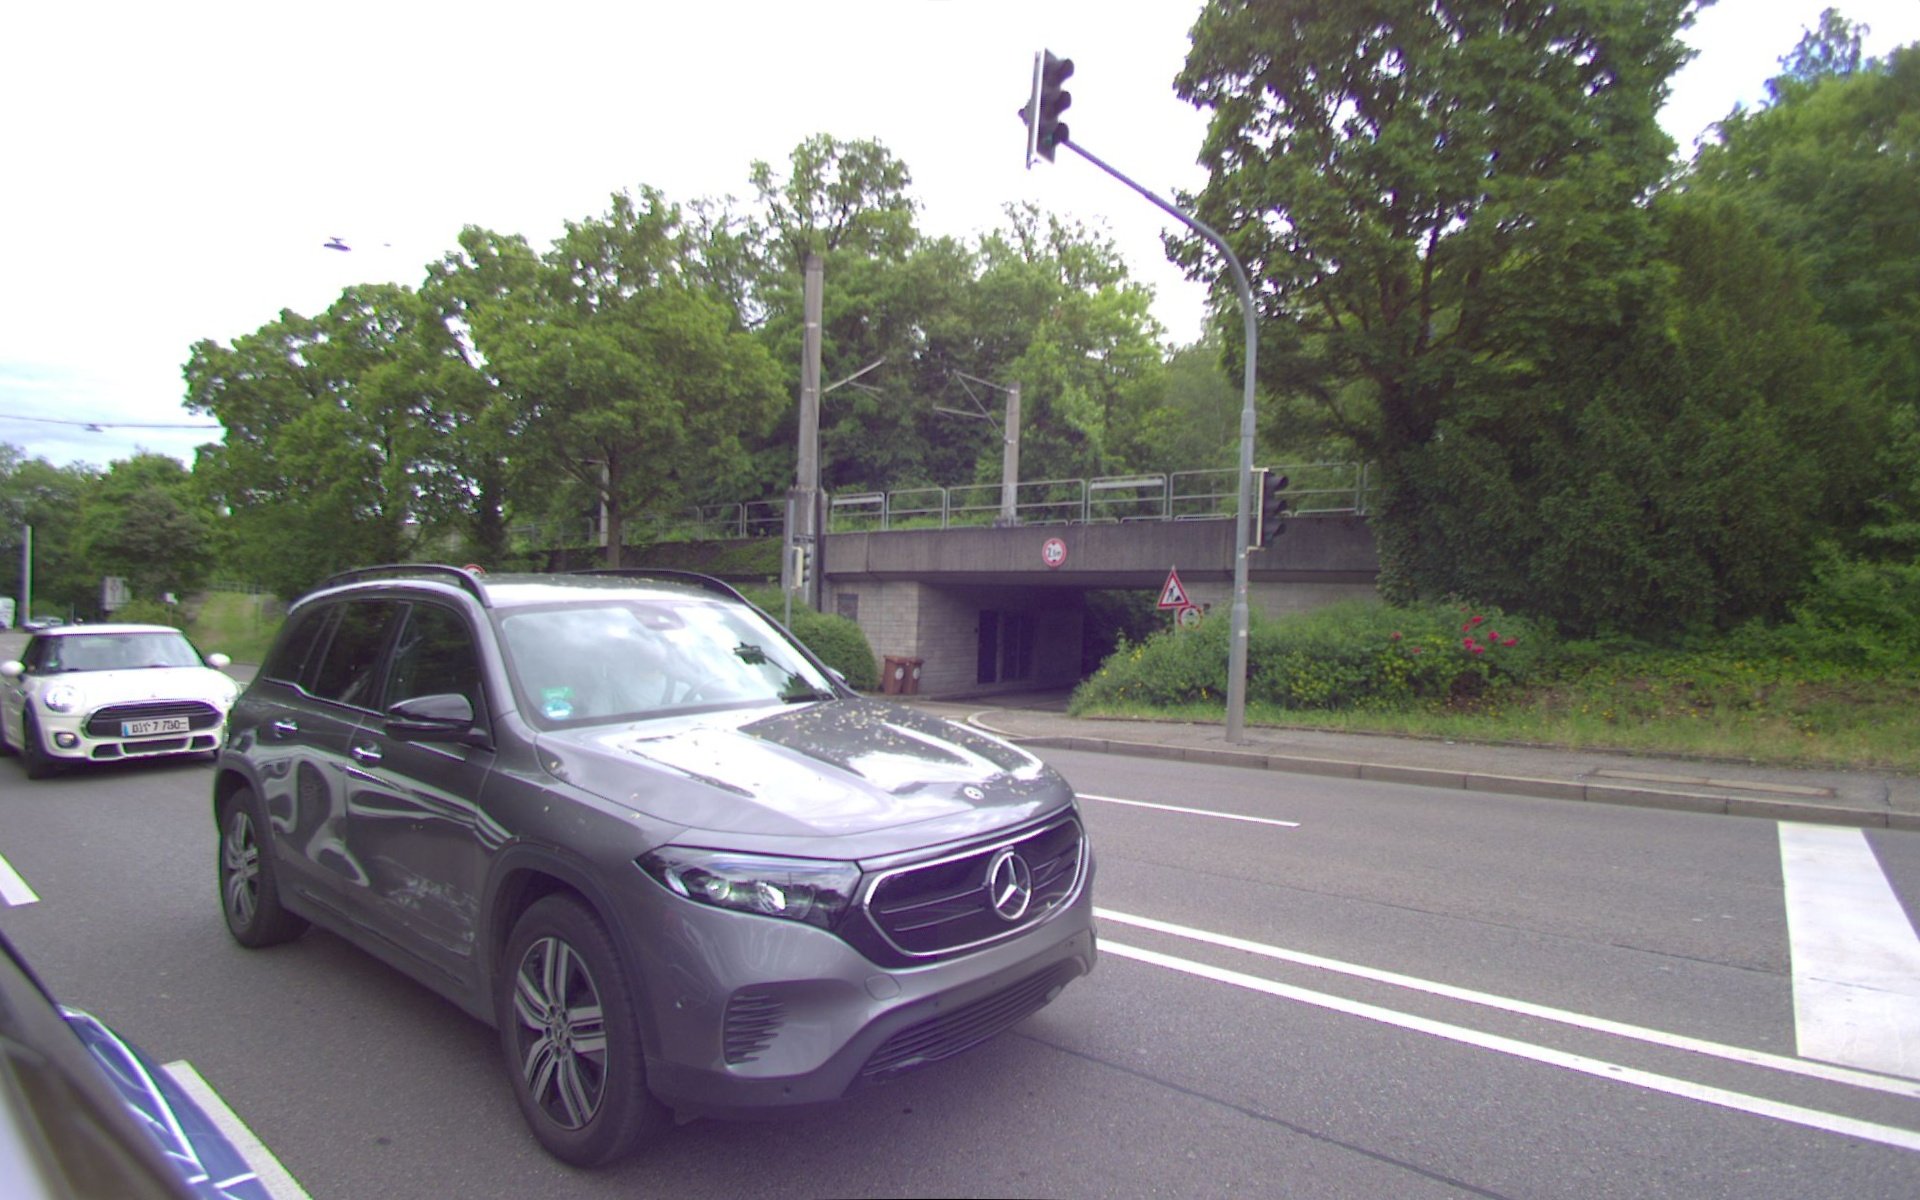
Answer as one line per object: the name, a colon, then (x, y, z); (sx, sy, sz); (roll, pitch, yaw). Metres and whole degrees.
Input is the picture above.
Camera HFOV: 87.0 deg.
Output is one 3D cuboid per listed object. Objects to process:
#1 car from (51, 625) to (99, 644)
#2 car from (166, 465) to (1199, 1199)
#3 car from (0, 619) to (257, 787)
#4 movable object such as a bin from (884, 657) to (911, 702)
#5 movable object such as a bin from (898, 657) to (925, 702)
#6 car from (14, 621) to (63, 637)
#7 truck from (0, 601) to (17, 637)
car: (-82.912, 3.276, 94.872); (1.823, 1.664, 4.371); (2, -3, -19)
car: (-1.462, 0.613, 4.052); (4.353, 1.664, 1.831); (-1, -1, 40)
car: (-8.908, 0.937, 10.608); (3.731, 1.434, 1.667); (-1, -1, 41)
movable object such as a bin: (-1.502, 1.911, 24.415); (0.503, 1.071, 0.414); (-1, -3, 36)
movable object such as a bin: (-1.204, 1.947, 24.973); (0.503, 1.071, 0.414); (-1, -3, 36)
car: (-89.360, 2.802, 98.171); (1.727, 1.372, 4.021); (4, -4, -14)
truck: (-86.851, 1.601, 89.532); (2.164, 3.180, 6.670); (2, -3, -17)
